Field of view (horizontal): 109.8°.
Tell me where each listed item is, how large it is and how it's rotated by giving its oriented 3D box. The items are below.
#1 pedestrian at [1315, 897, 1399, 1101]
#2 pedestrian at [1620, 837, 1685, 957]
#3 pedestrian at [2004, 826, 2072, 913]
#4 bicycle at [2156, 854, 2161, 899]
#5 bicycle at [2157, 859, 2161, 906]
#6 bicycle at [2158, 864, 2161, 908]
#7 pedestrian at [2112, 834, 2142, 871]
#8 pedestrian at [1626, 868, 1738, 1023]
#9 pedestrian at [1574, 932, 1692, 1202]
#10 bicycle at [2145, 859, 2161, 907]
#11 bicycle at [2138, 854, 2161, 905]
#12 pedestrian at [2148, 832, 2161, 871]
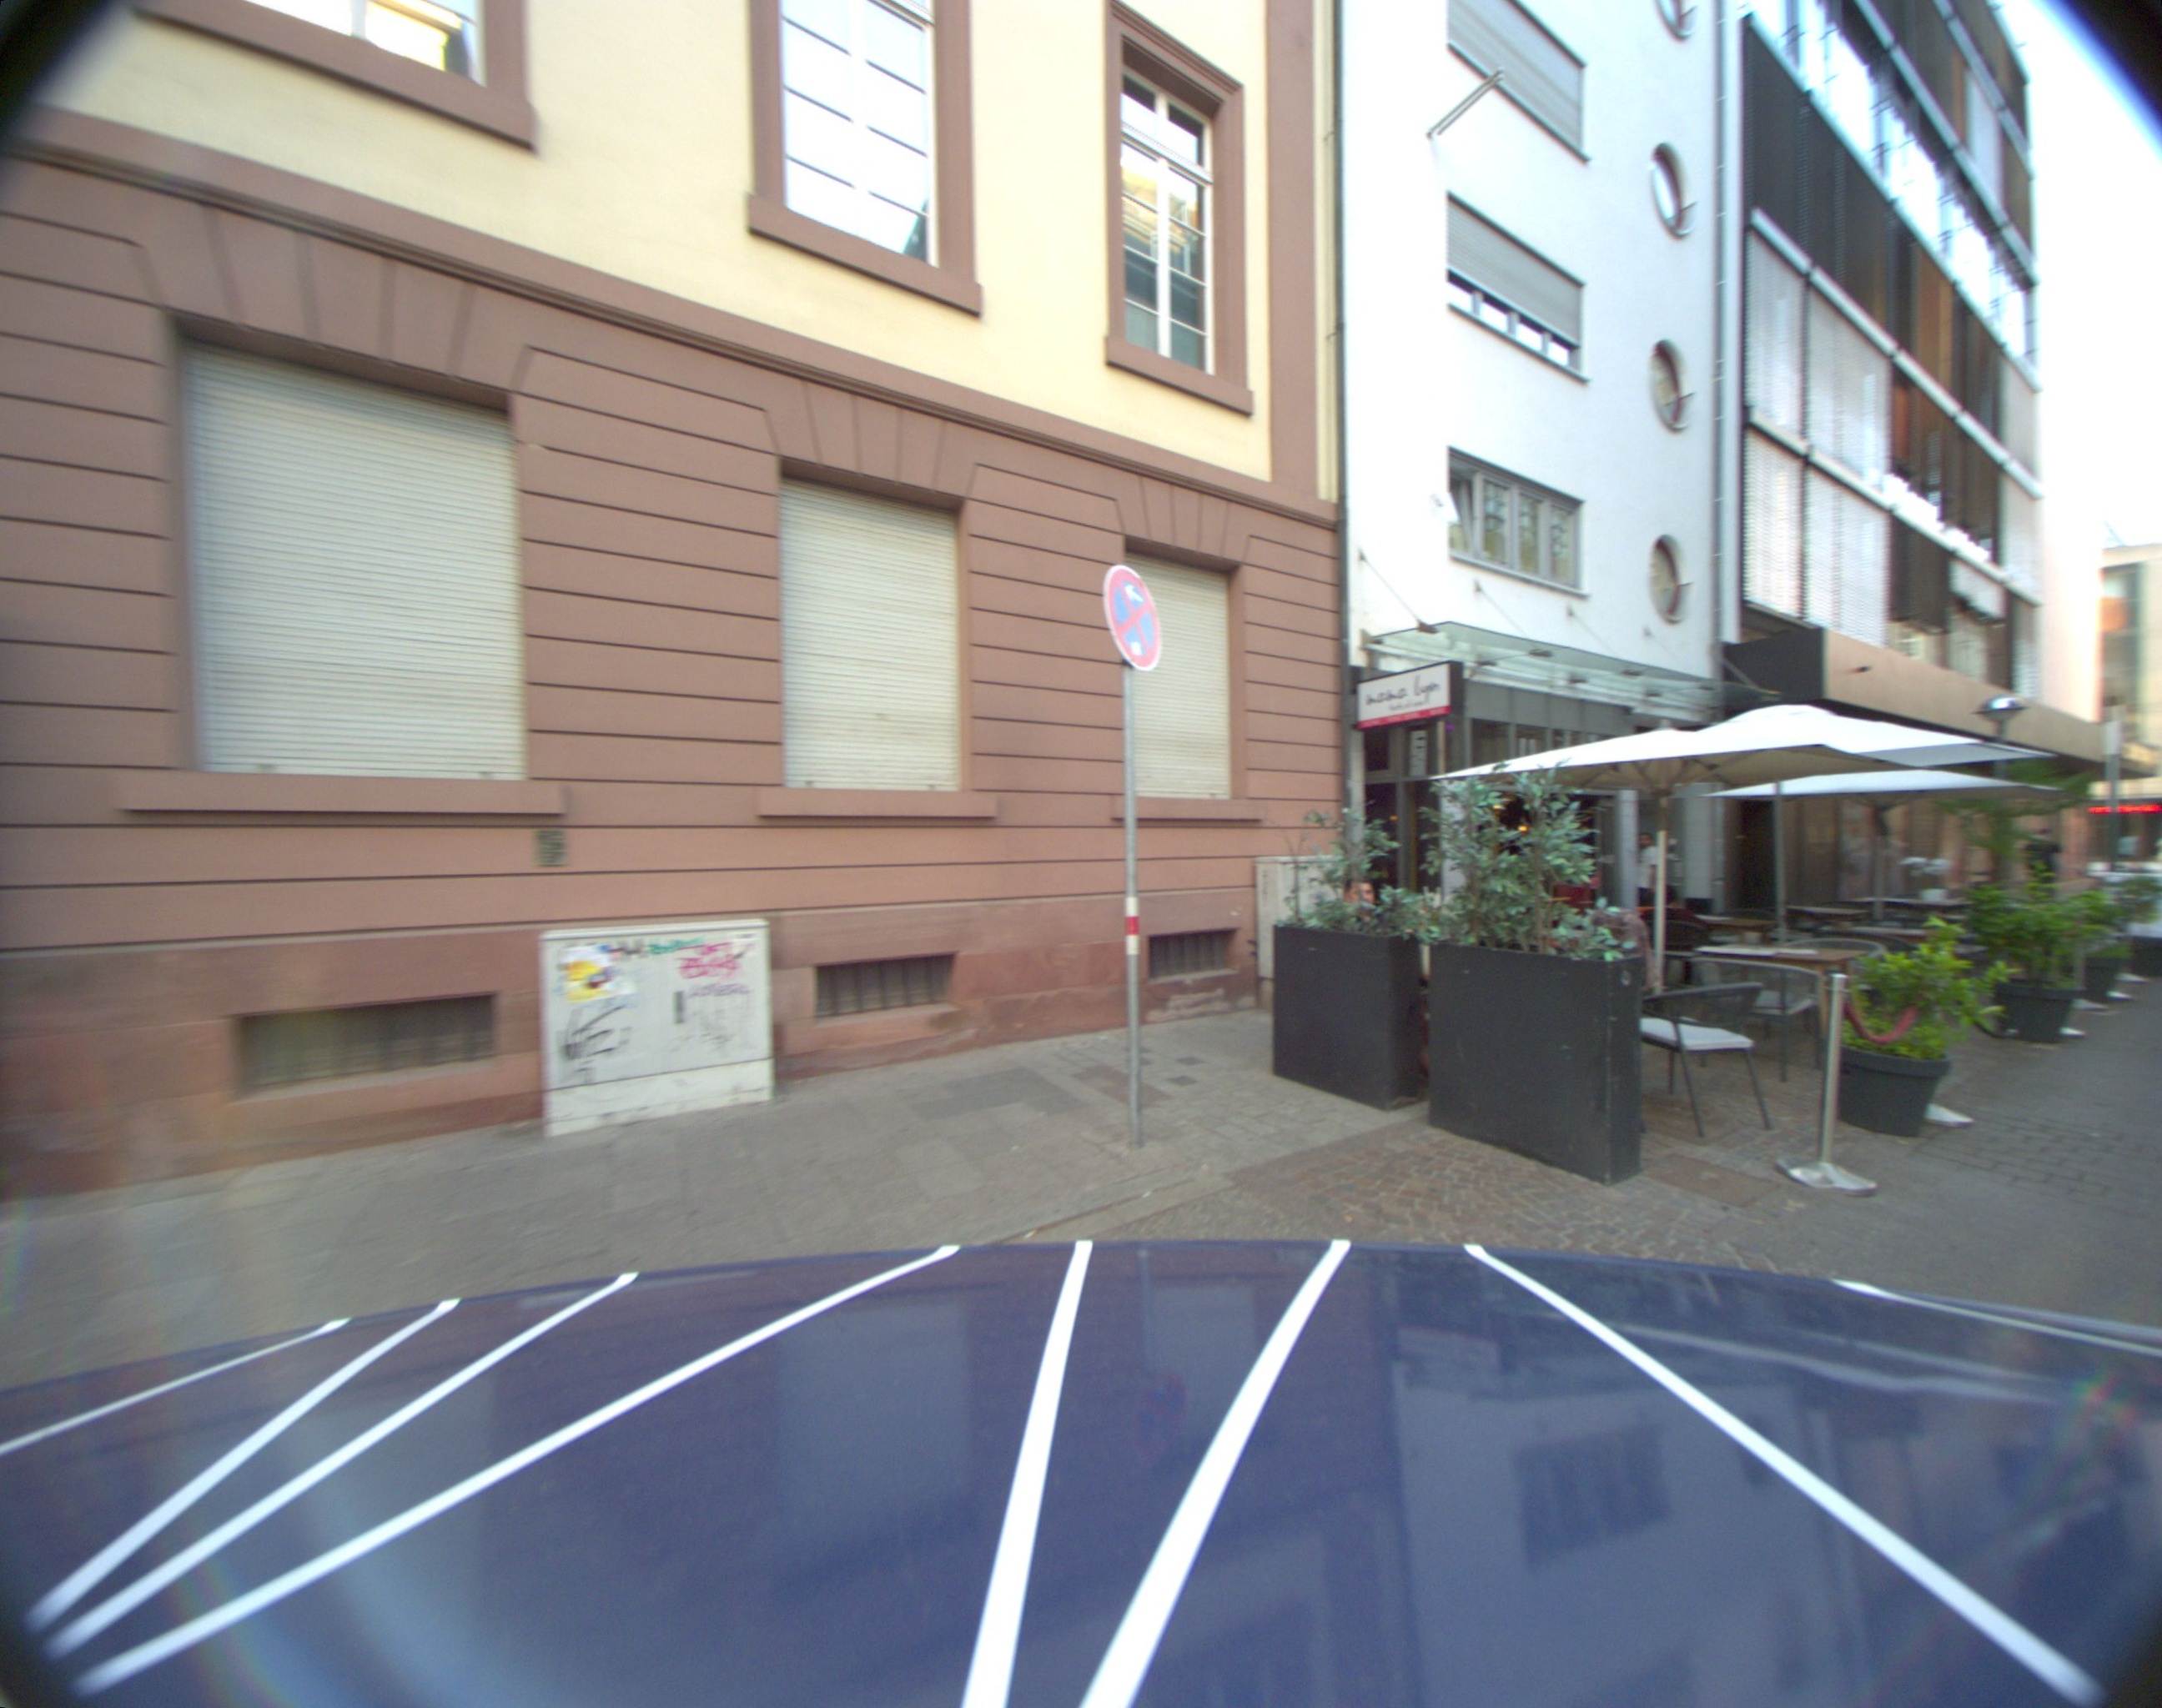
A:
[{"bbox_3d":[1.916,0.967,5.275,0.496,1.298,0.361,-2,2,-44],"label":"pedestrian"},{"bbox_3d":[8.735,0.630,11.616,0.603,1.762,0.639,-2,1,-35],"label":"pedestrian"},{"bbox_3d":[20.694,0.319,16.437,0.676,1.826,0.802,-1,1,-28],"label":"pedestrian"},{"bbox_3d":[28.948,0.596,19.175,0.620,1.161,2.035,-1,1,-31],"label":"bicycle"},{"bbox_3d":[27.769,0.704,18.337,0.620,1.161,2.035,-1,1,-31],"label":"bicycle"},{"bbox_3d":[24.641,0.643,16.077,0.667,1.161,2.034,-1,4,-31],"label":"bicycle"},{"bbox_3d":[44.057,-0.074,32.013,0.784,1.516,0.634,-3,2,-42],"label":"pedestrian"},{"bbox_3d":[5.929,0.855,7.502,0.869,1.412,0.574,-1,1,-29],"label":"pedestrian"},{"bbox_3d":[2.776,1.026,3.827,0.384,1.206,0.399,-2,1,-40],"label":"pedestrian"},{"bbox_3d":[26.780,0.701,17.842,0.620,1.161,2.035,-1,1,-31],"label":"bicycle"},{"bbox_3d":[25.729,0.639,17.177,0.620,1.161,2.034,-1,4,-31],"label":"bicycle"},{"bbox_3d":[45.053,-0.097,31.460,0.635,1.612,0.783,-1,2,11],"label":"pedestrian"}]
